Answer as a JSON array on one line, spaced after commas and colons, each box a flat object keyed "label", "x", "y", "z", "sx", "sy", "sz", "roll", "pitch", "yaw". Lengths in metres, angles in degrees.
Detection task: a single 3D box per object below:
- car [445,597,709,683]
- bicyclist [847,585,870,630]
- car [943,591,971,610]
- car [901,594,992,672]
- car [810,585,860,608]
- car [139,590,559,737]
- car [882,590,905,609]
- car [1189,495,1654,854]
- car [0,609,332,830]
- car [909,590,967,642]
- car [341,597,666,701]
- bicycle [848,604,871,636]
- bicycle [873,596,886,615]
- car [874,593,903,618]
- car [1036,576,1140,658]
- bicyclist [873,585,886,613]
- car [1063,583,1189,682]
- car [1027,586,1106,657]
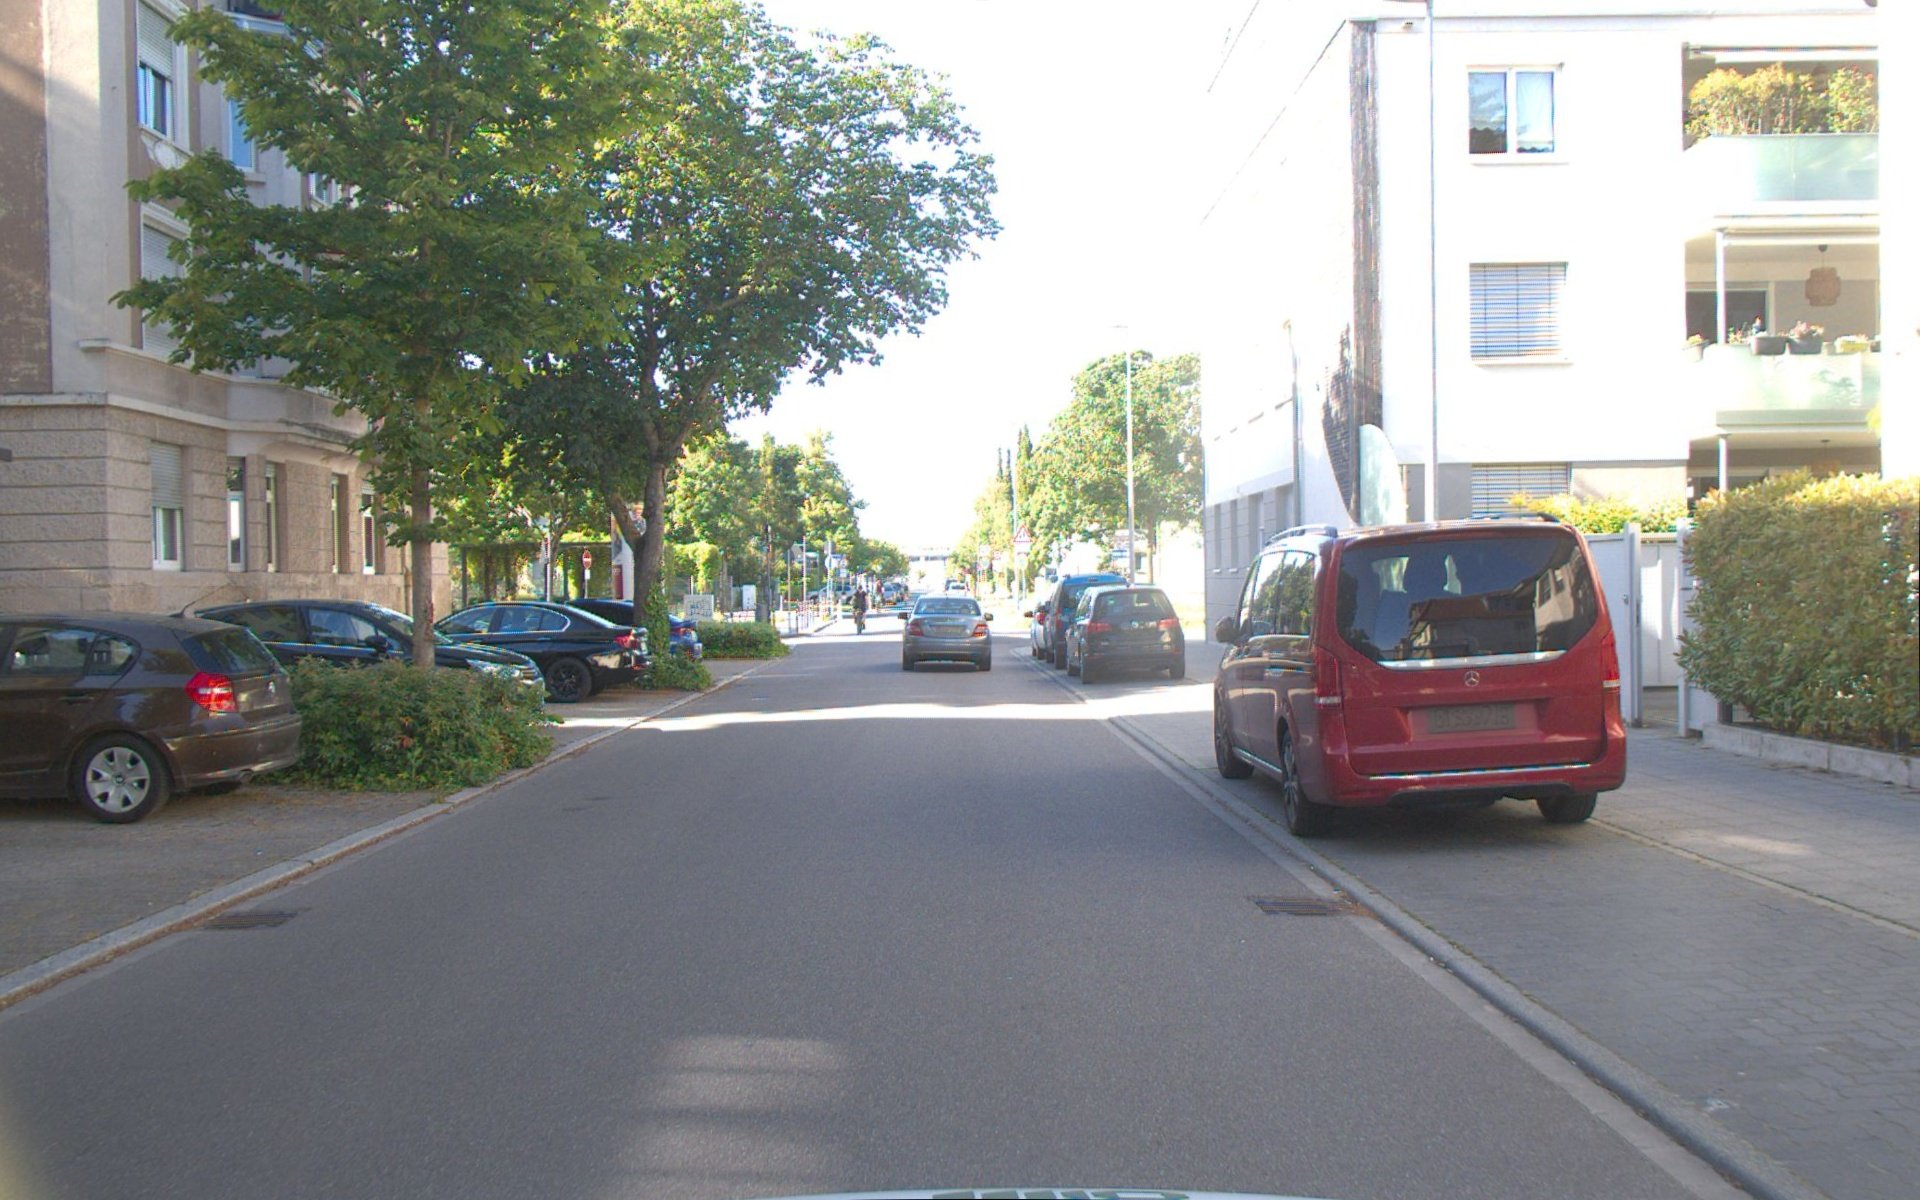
[{"label": "car", "x": -6.886, "y": 0.713, "z": 30.099, "sx": 4.384, "sy": 1.505, "sz": 1.867, "roll": 0, "pitch": -1, "yaw": -3}, {"label": "bicyclist", "x": -3.605, "y": 0.269, "z": 58.839, "sx": 0.706, "sy": 1.563, "sz": 1.137, "roll": -2, "pitch": 0, "yaw": -1}, {"label": "car", "x": -0.229, "y": 0.044, "z": 123.469, "sx": 1.689, "sy": 1.353, "sz": 3.996, "roll": 0, "pitch": 0, "yaw": -5}, {"label": "car", "x": -0.247, "y": 0.648, "z": 33.166, "sx": 1.691, "sy": 1.445, "sz": 3.960, "roll": 1, "pitch": -1, "yaw": 0}, {"label": "car", "x": -8.733, "y": -0.232, "z": 115.280, "sx": 3.428, "sy": 1.560, "sz": 1.642, "roll": 0, "pitch": 0, "yaw": -8}, {"label": "car", "x": -6.773, "y": 0.710, "z": 18.775, "sx": 4.094, "sy": 1.526, "sz": 1.996, "roll": 1, "pitch": -1, "yaw": -8}, {"label": "car", "x": -5.809, "y": -0.053, "z": 143.957, "sx": 1.752, "sy": 1.559, "sz": 3.995, "roll": -1, "pitch": -1, "yaw": -5}, {"label": "car", "x": 2.942, "y": 0.427, "z": 11.856, "sx": 1.833, "sy": 1.938, "sz": 5.197, "roll": -2, "pitch": 0, "yaw": 0}, {"label": "car", "x": -6.905, "y": 0.819, "z": 12.153, "sx": 3.906, "sy": 1.446, "sz": 1.771, "roll": 0, "pitch": 1, "yaw": -2}, {"label": "car", "x": -0.691, "y": 0.485, "z": 49.901, "sx": 1.672, "sy": 1.473, "sz": 4.201, "roll": 1, "pitch": -1, "yaw": -2}, {"label": "car", "x": -6.777, "y": 0.727, "z": 24.936, "sx": 4.384, "sy": 1.505, "sz": 1.867, "roll": 0, "pitch": -1, "yaw": -3}, {"label": "bicycle", "x": -3.575, "y": 0.702, "z": 58.818, "sx": 0.705, "sy": 1.098, "sz": 1.890, "roll": -2, "pitch": 0, "yaw": 0}, {"label": "bicycle", "x": -4.346, "y": 0.289, "z": 89.562, "sx": 0.577, "sy": 0.948, "sz": 1.850, "roll": -1, "pitch": 1, "yaw": 0}, {"label": "car", "x": -5.247, "y": 0.373, "z": 120.837, "sx": 1.836, "sy": 1.758, "sz": 3.996, "roll": -1, "pitch": 1, "yaw": -5}, {"label": "car", "x": 2.590, "y": 0.358, "z": 34.295, "sx": 1.648, "sy": 1.459, "sz": 4.265, "roll": -5, "pitch": -1, "yaw": -1}, {"label": "bicyclist", "x": -4.365, "y": -0.062, "z": 89.567, "sx": 0.666, "sy": 1.535, "sz": 0.655, "roll": -1, "pitch": 0, "yaw": 0}, {"label": "car", "x": 2.784, "y": 0.508, "z": 28.541, "sx": 1.701, "sy": 1.558, "sz": 4.178, "roll": 0, "pitch": 0, "yaw": -1}, {"label": "car", "x": 2.447, "y": 0.503, "z": 38.656, "sx": 1.532, "sy": 1.435, "sz": 3.729, "roll": -5, "pitch": -1, "yaw": 0}]
